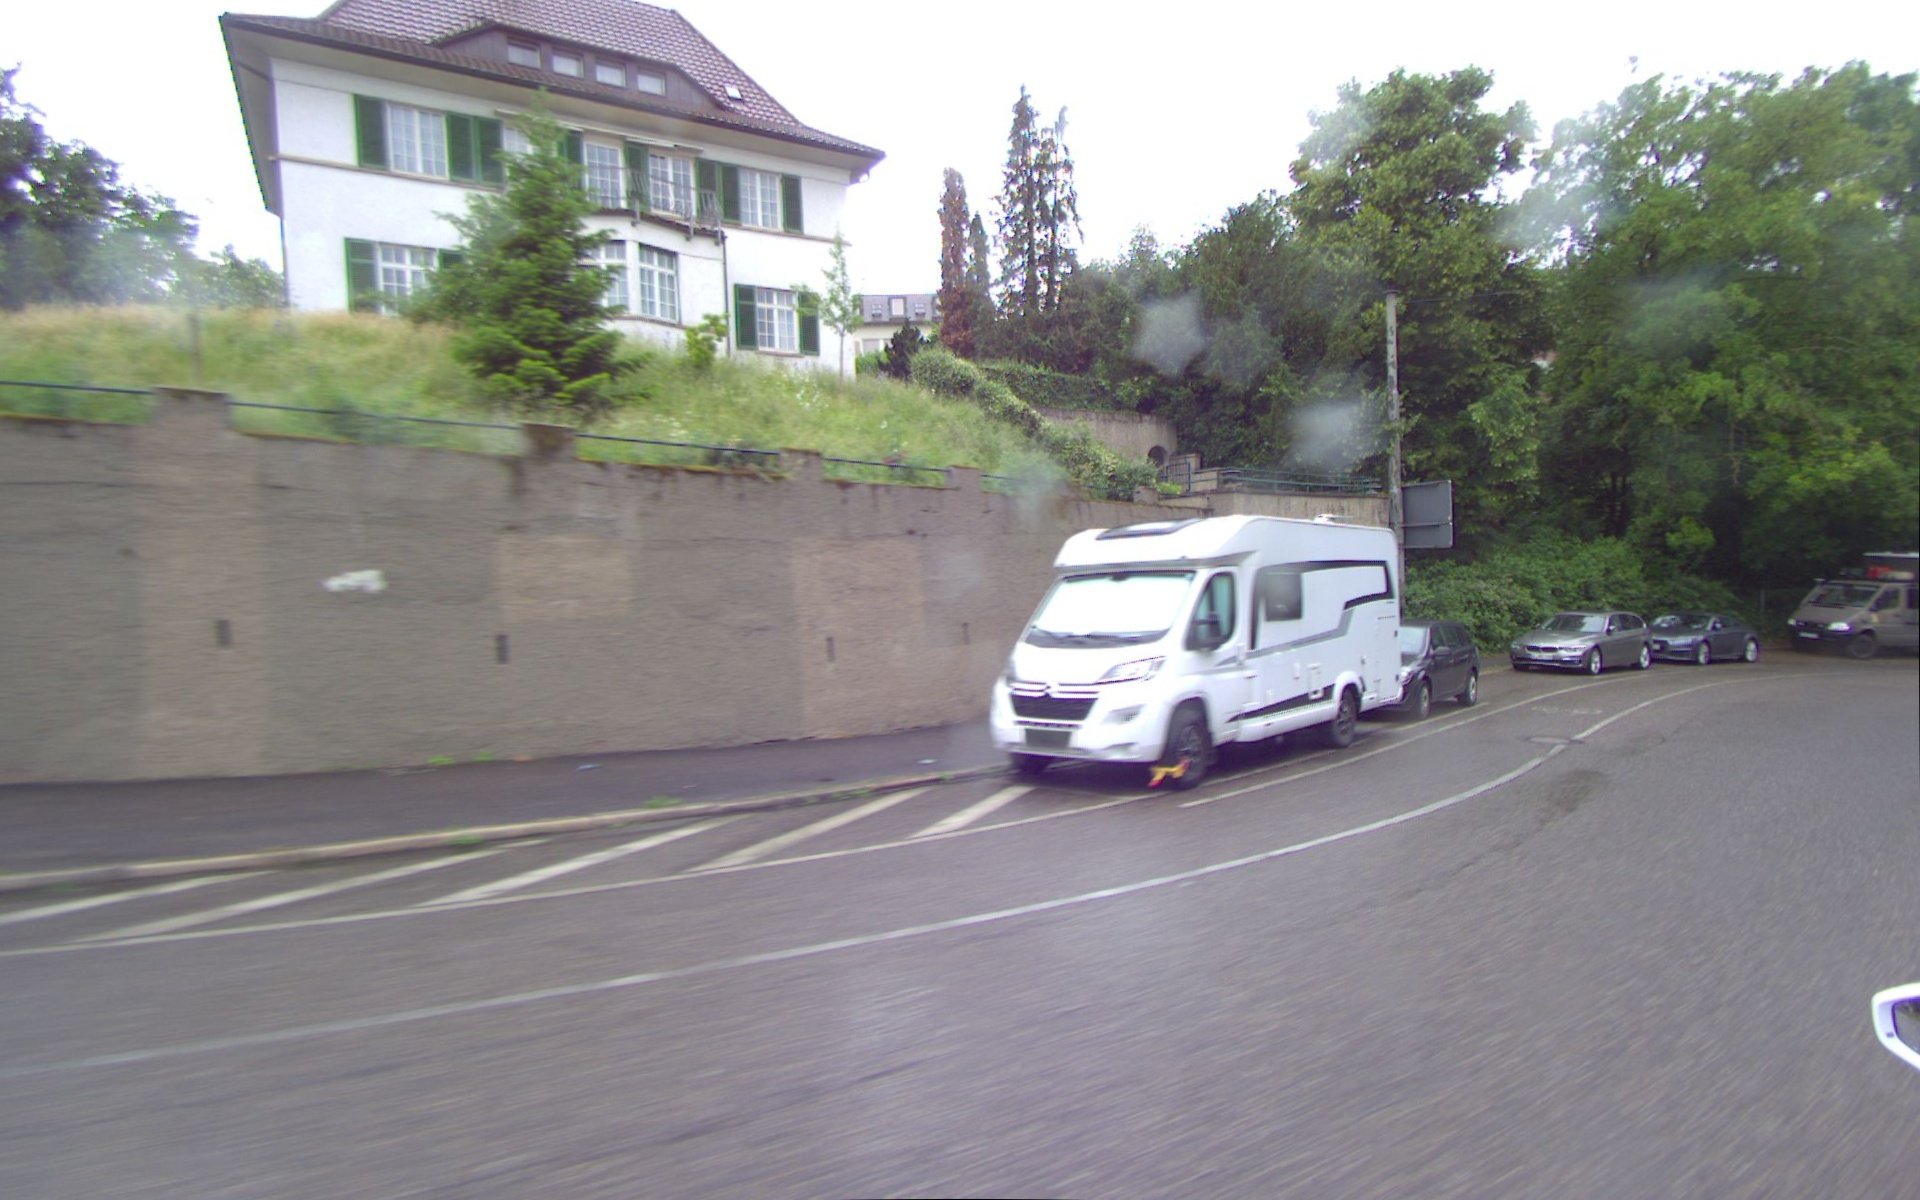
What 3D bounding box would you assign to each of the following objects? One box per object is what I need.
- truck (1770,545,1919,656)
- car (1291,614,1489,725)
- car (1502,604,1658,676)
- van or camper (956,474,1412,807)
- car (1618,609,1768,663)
[{"bbox_3d":[28.137,0.004,30.245,6.497,3.145,2.034,1,4,-12],"label":"truck"},{"bbox_3d":[7.243,1.041,16.671,1.767,1.518,4.348,-1,0,41],"label":"car"},{"bbox_3d":[15.195,0.902,24.547,4.485,1.519,1.687,-1,2,-36],"label":"car"},{"bbox_3d":[3.083,0.378,11.873,2.131,2.825,7.013,-2,-1,41],"label":"van or camper"},{"bbox_3d":[20.102,0.940,27.508,4.194,1.293,1.692,-1,2,-29],"label":"car"}]
